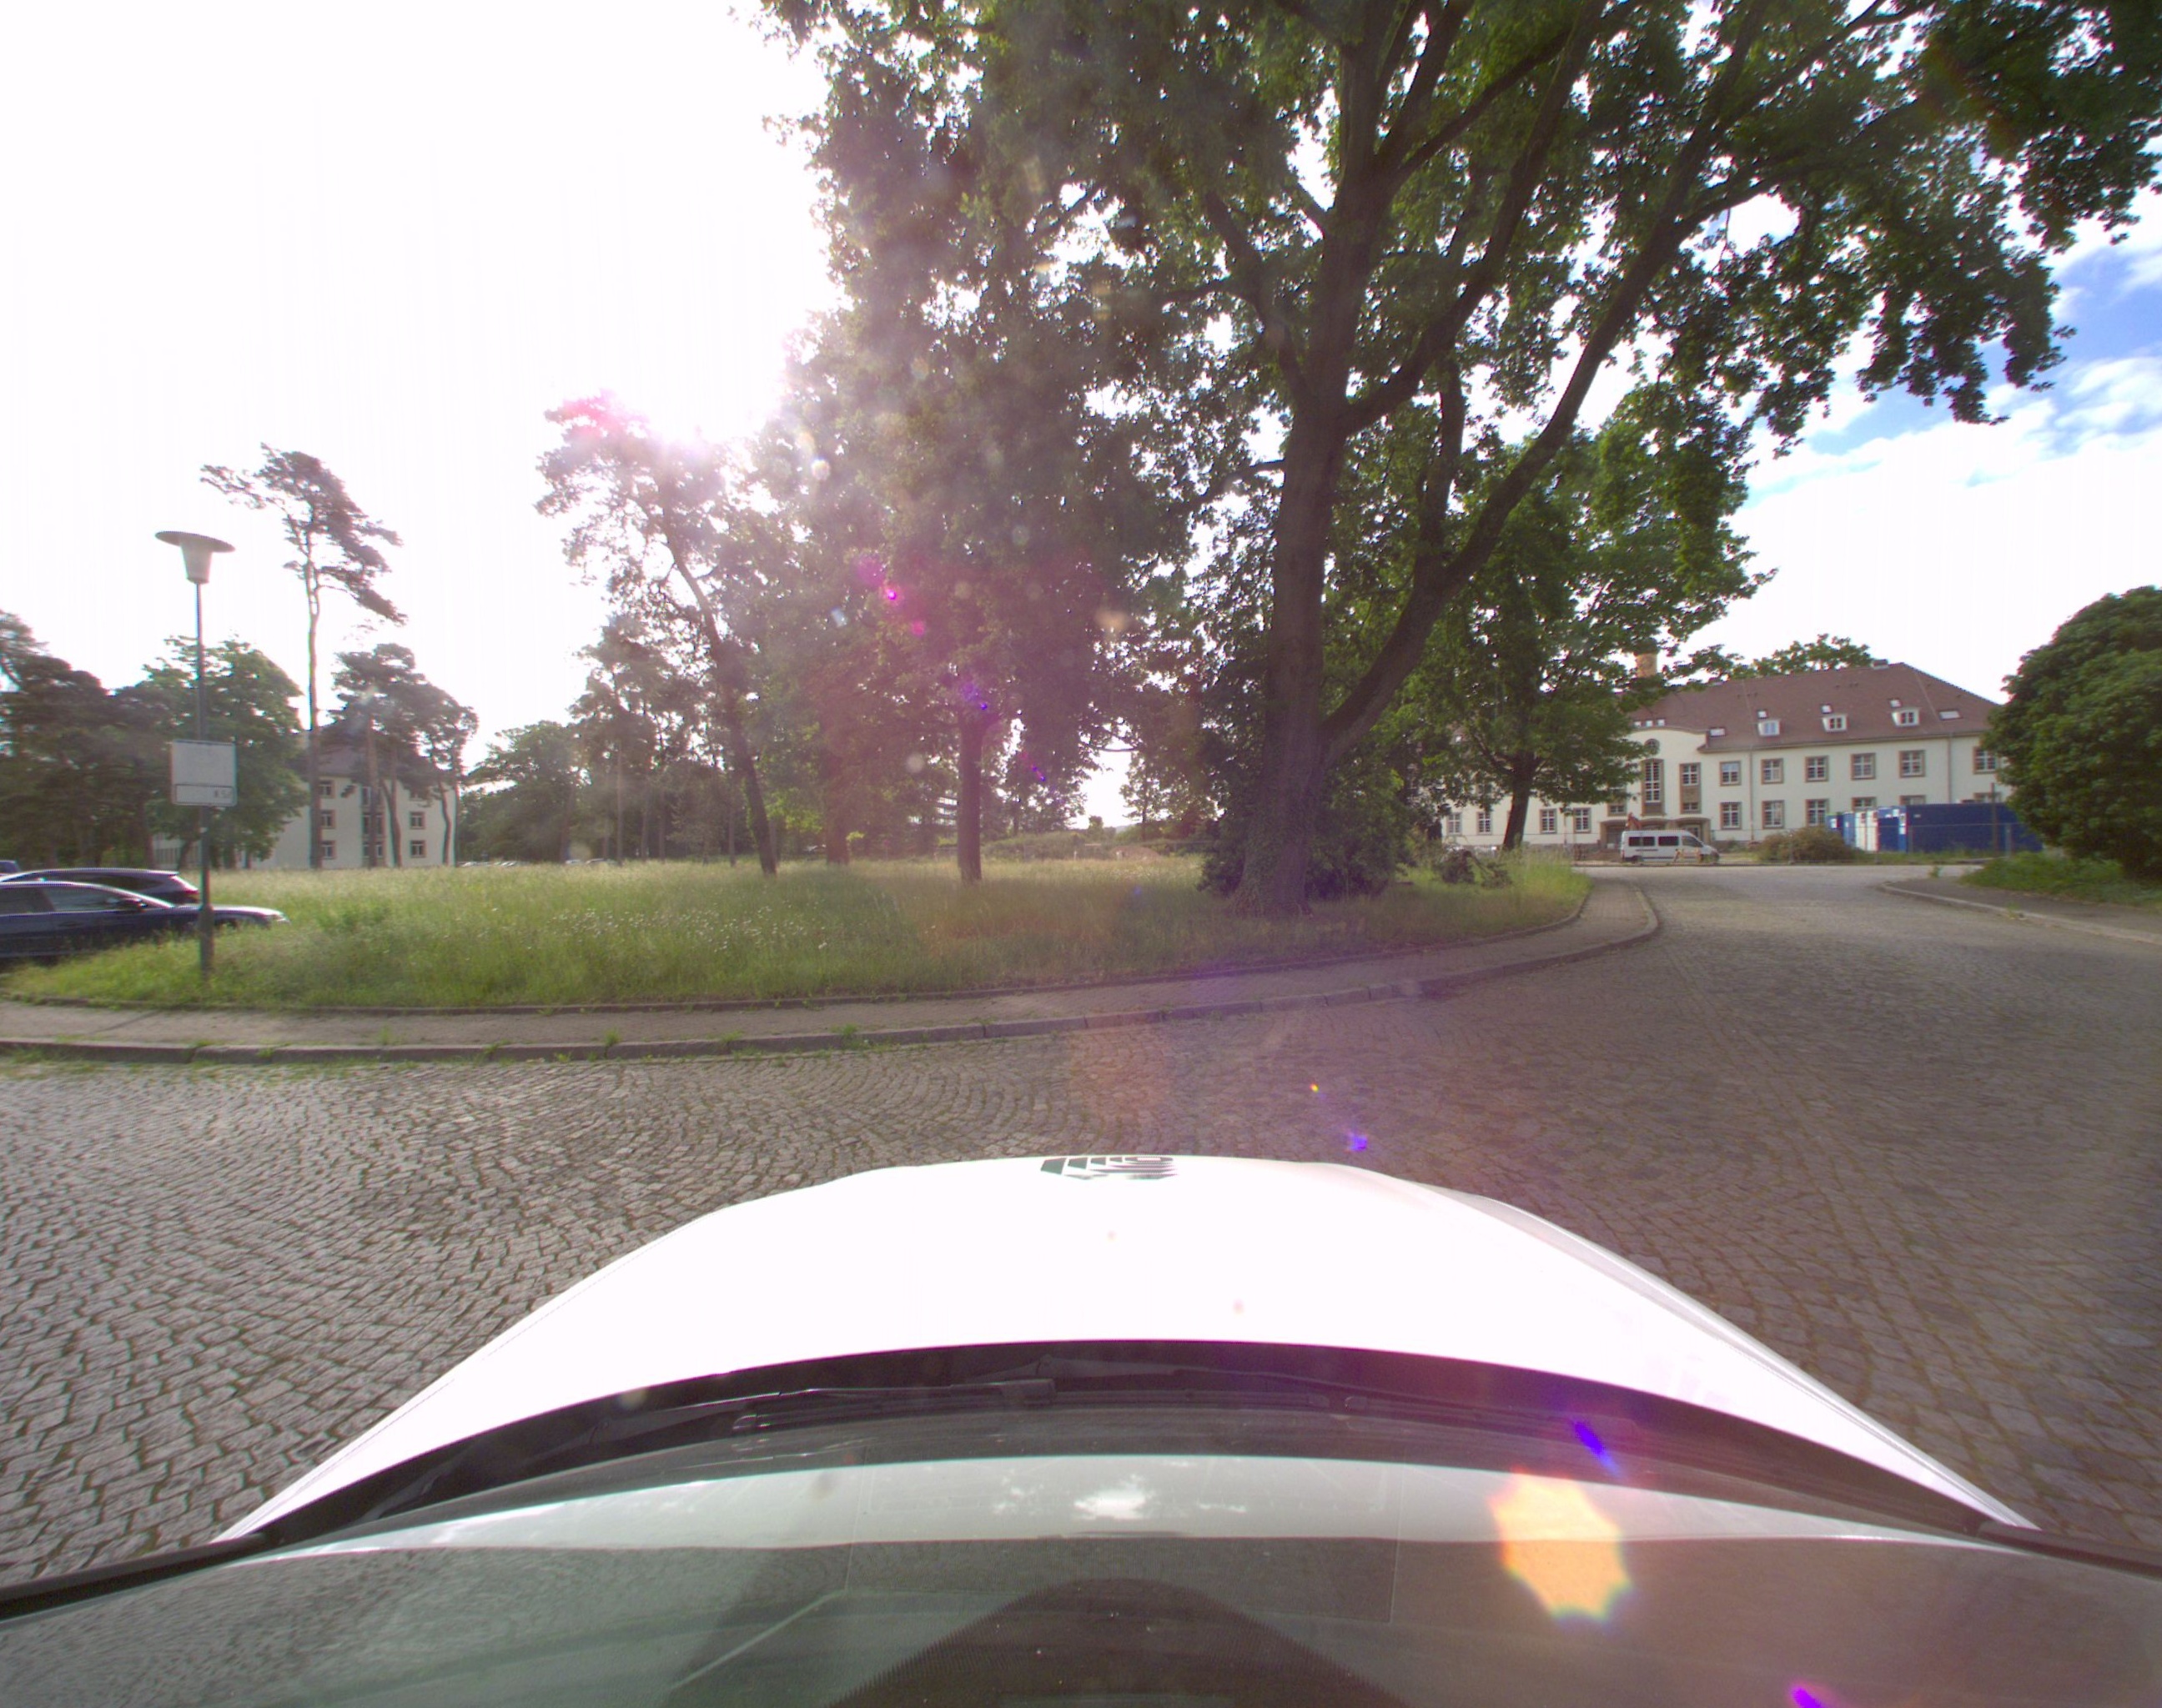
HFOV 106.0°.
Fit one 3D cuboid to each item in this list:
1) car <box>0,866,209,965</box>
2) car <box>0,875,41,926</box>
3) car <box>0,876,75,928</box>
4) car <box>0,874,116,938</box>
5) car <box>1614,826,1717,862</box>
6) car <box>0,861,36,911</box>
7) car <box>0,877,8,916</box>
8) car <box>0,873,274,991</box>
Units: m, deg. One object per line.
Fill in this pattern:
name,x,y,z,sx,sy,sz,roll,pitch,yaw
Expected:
car,-19.060,1.104,14.736,1.767,1.573,4.178,0,2,32
car,-36.268,1.549,25.766,1.797,1.603,3.943,-1,0,31
car,-33.832,1.523,24.720,1.685,1.520,3.979,-2,0,33
car,-27.472,1.356,20.464,1.650,1.478,3.922,-1,1,33
car,38.417,-0.668,53.730,5.460,2.206,2.140,0,4,33
car,-43.606,1.384,30.676,2.134,1.865,4.868,0,4,31
car,-41.780,1.716,29.071,1.720,1.392,3.959,0,4,31
car,-15.217,1.138,12.010,1.660,1.479,4.475,-1,1,37
